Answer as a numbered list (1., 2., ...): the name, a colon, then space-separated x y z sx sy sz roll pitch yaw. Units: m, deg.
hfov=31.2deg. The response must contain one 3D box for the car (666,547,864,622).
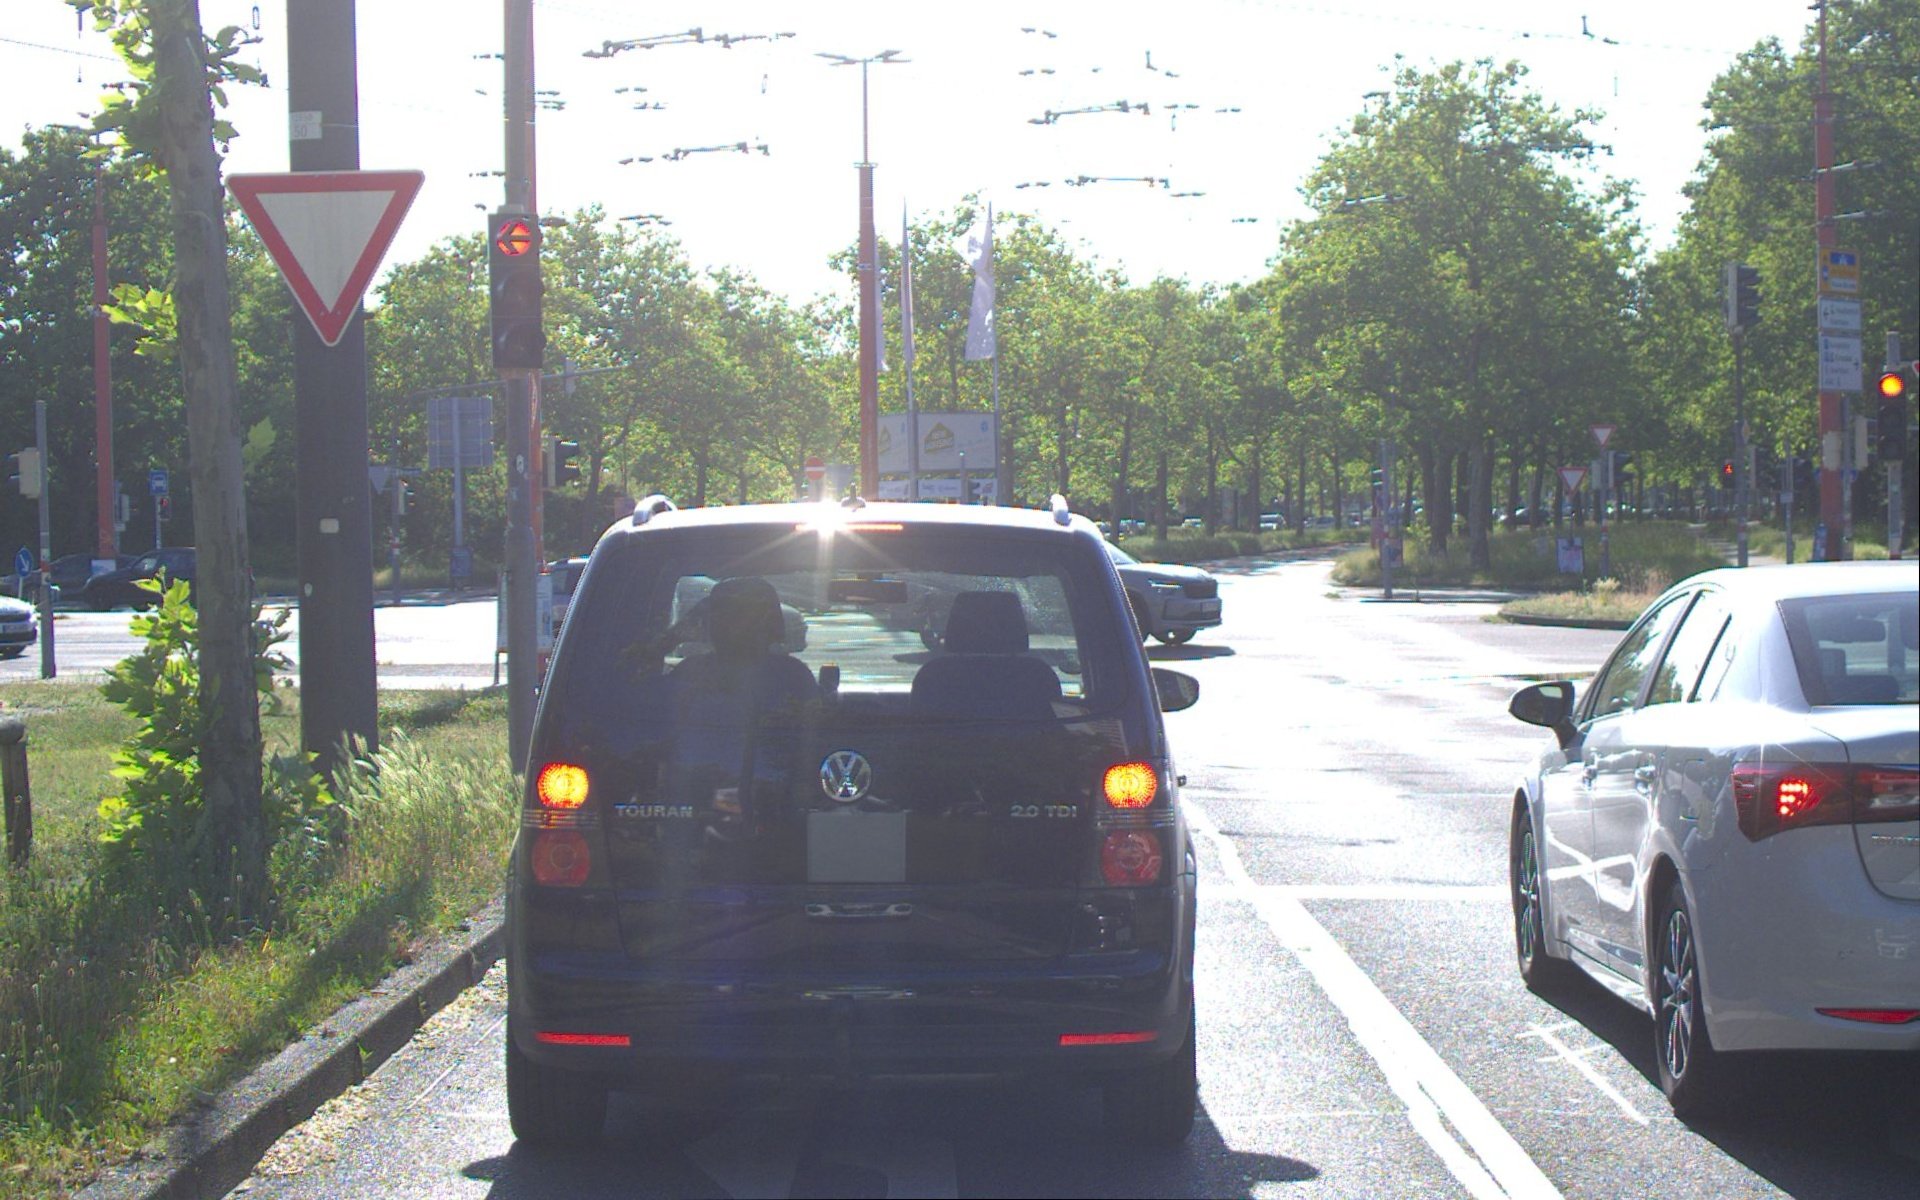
1. car: -4.070 -0.344 71.688 3.796 1.505 1.655 1 1 24

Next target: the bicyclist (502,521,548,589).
1. bicyclist: -12.153 -1.264 96.052 0.977 1.897 1.050 0 1 12

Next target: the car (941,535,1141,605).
1. car: 1.718 -0.658 73.245 3.919 1.452 1.654 1 1 26

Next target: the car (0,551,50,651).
1. car: -16.426 -0.013 53.348 4.630 1.514 1.654 1 1 30

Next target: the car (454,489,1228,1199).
1. car: -0.252 0.538 9.970 1.738 1.597 4.326 1 1 1

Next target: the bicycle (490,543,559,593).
1. bicycle: -12.160 -0.902 96.017 0.977 1.384 2.978 0 1 12

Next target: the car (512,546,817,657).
1. car: -4.011 -0.007 46.619 3.835 1.436 1.654 1 1 28

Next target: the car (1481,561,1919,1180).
1. car: 2.758 0.618 10.148 1.799 1.435 4.326 1 1 1

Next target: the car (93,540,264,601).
1. car: -19.117 -0.741 84.050 3.919 1.452 1.654 1 1 26

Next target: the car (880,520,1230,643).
1. car: 1.292 -0.283 47.796 4.636 1.641 1.654 1 1 30
